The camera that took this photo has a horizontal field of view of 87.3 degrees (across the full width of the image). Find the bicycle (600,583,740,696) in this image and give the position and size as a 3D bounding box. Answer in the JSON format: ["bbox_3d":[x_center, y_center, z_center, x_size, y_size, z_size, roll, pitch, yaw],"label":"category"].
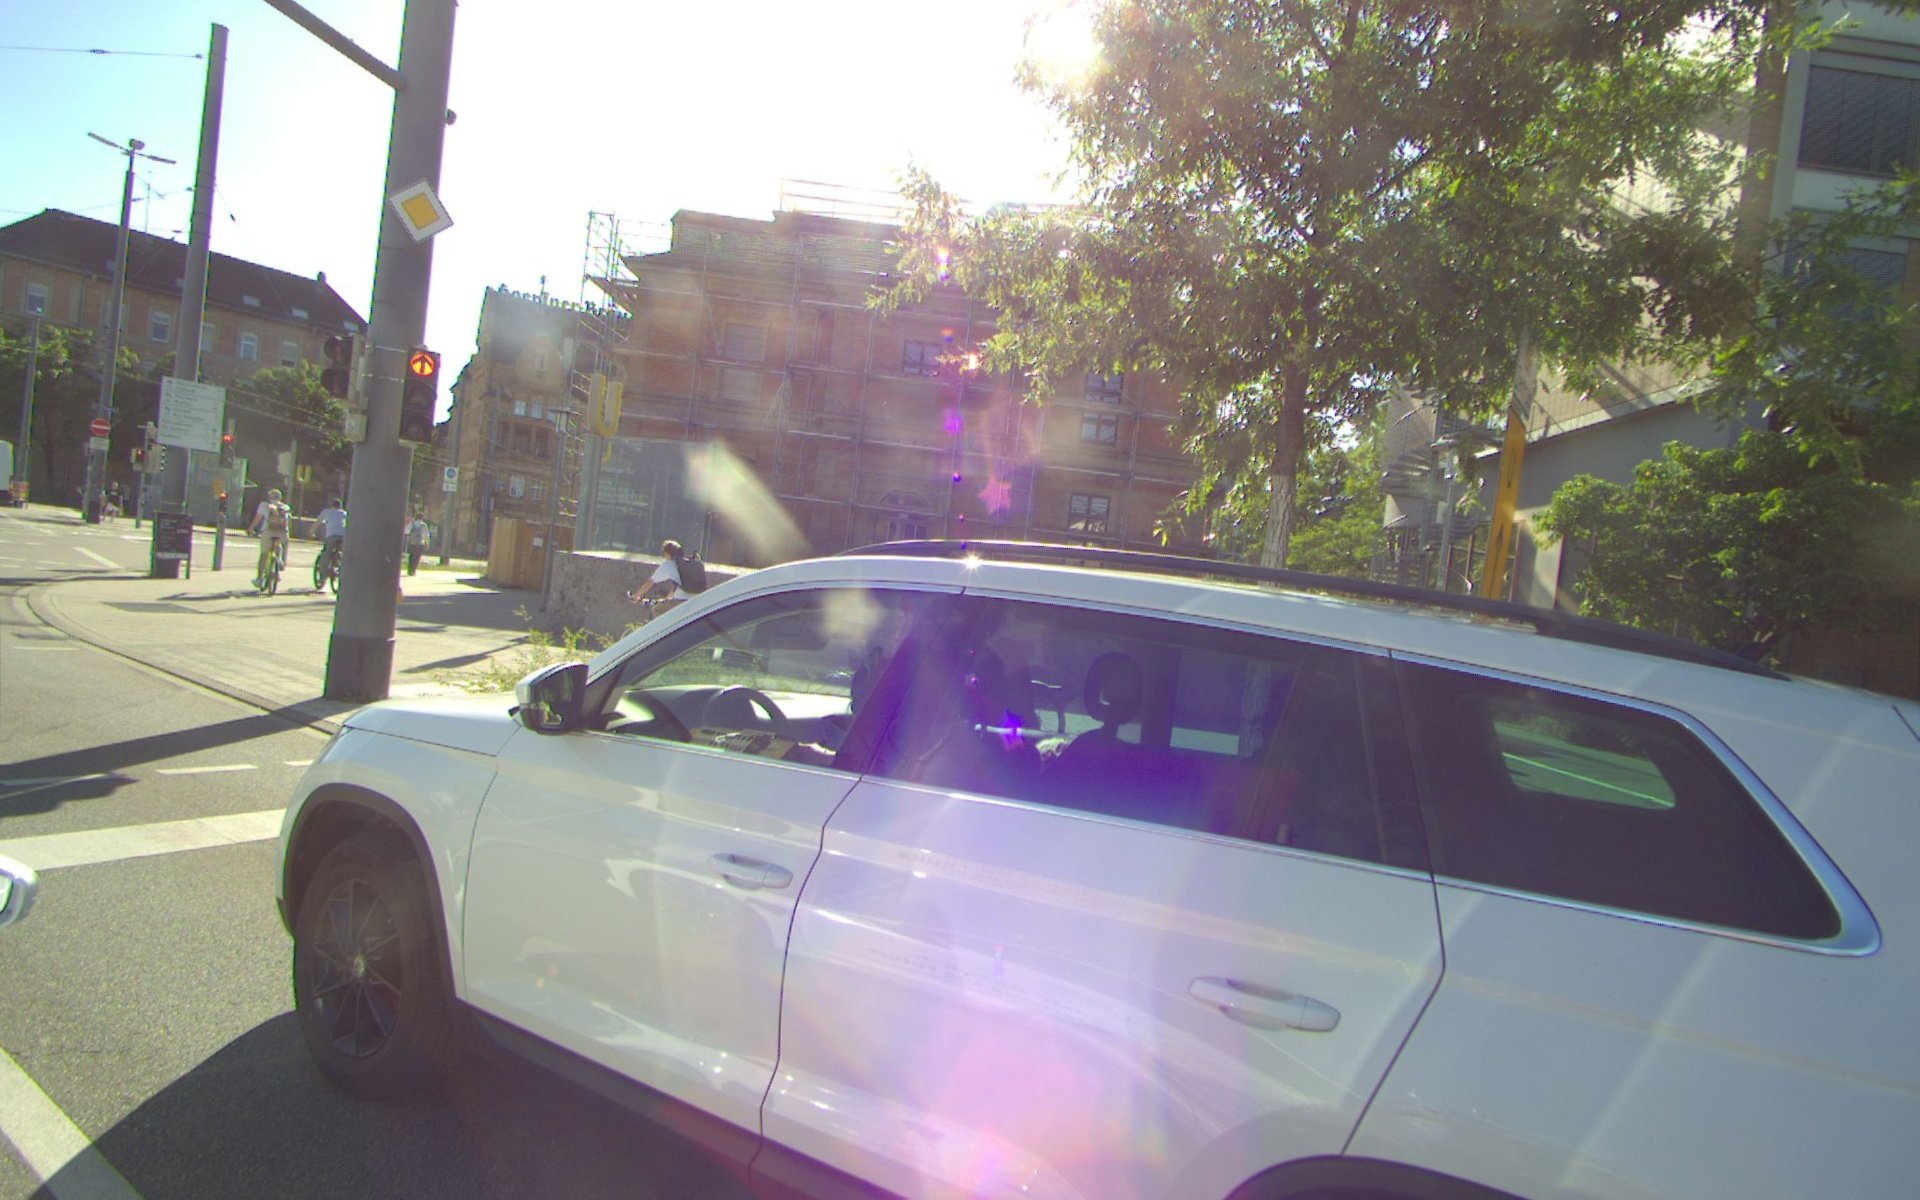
[{"bbox_3d":[-3.499,0.445,12.080,1.711,1.141,0.571,7,4,32],"label":"bicycle"}]

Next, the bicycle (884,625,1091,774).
[{"bbox_3d":[0.246,0.914,9.724,1.819,1.129,0.626,7,3,28],"label":"bicycle"}]

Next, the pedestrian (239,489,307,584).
[{"bbox_3d":[-12.323,-1.132,18.041,0.843,1.582,0.549,7,1,28],"label":"pedestrian"}]

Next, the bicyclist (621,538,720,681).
[{"bbox_3d":[-3.475,0.106,12.059,0.931,1.590,0.571,7,4,32],"label":"bicyclist"}]

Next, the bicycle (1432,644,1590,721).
[{"bbox_3d":[13.093,1.941,23.999,3.079,1.395,0.798,7,1,8],"label":"bicycle"}]

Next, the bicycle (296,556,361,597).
[{"bbox_3d":[-12.619,-0.471,20.102,1.444,0.664,0.537,7,2,34],"label":"bicycle"}]

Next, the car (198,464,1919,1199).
[{"bbox_3d":[0.019,0.699,2.687,4.224,1.662,1.697,7,0,30],"label":"car"}]

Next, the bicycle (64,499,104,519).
[{"bbox_3d":[-48.097,-4.986,55.246,0.733,0.881,1.926,7,0,-12],"label":"bicycle"}]

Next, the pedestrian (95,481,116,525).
[{"bbox_3d":[-41.440,-4.713,48.770,0.443,2.039,0.462,7,2,14],"label":"pedestrian"}]

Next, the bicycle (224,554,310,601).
[{"bbox_3d":[-12.466,-0.407,18.092,1.695,0.664,0.537,7,3,28],"label":"bicycle"}]

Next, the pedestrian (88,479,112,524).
[{"bbox_3d":[-41.133,-4.701,48.094,0.443,2.039,0.574,7,1,14],"label":"pedestrian"}]

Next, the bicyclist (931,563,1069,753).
[{"bbox_3d":[0.386,0.532,9.651,0.978,1.659,0.626,7,3,28],"label":"bicyclist"}]

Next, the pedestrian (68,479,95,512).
[{"bbox_3d":[-47.945,-5.719,54.924,0.746,1.652,0.716,7,1,-12],"label":"pedestrian"}]

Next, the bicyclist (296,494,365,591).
[{"bbox_3d":[-12.560,-1.136,20.087,0.909,1.802,0.747,8,2,34],"label":"bicyclist"}]

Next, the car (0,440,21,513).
[{"bbox_3d":[-38.935,-5.025,37.166,2.103,2.778,5.926,7,0,11],"label":"car"}]

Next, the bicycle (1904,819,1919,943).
[{"bbox_3d":[6.785,1.635,5.715,1.852,1.178,0.686,7,1,32],"label":"bicycle"}]

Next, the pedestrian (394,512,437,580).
[{"bbox_3d":[-16.202,-1.604,29.961,0.887,1.883,0.922,6,1,-23],"label":"pedestrian"}]
